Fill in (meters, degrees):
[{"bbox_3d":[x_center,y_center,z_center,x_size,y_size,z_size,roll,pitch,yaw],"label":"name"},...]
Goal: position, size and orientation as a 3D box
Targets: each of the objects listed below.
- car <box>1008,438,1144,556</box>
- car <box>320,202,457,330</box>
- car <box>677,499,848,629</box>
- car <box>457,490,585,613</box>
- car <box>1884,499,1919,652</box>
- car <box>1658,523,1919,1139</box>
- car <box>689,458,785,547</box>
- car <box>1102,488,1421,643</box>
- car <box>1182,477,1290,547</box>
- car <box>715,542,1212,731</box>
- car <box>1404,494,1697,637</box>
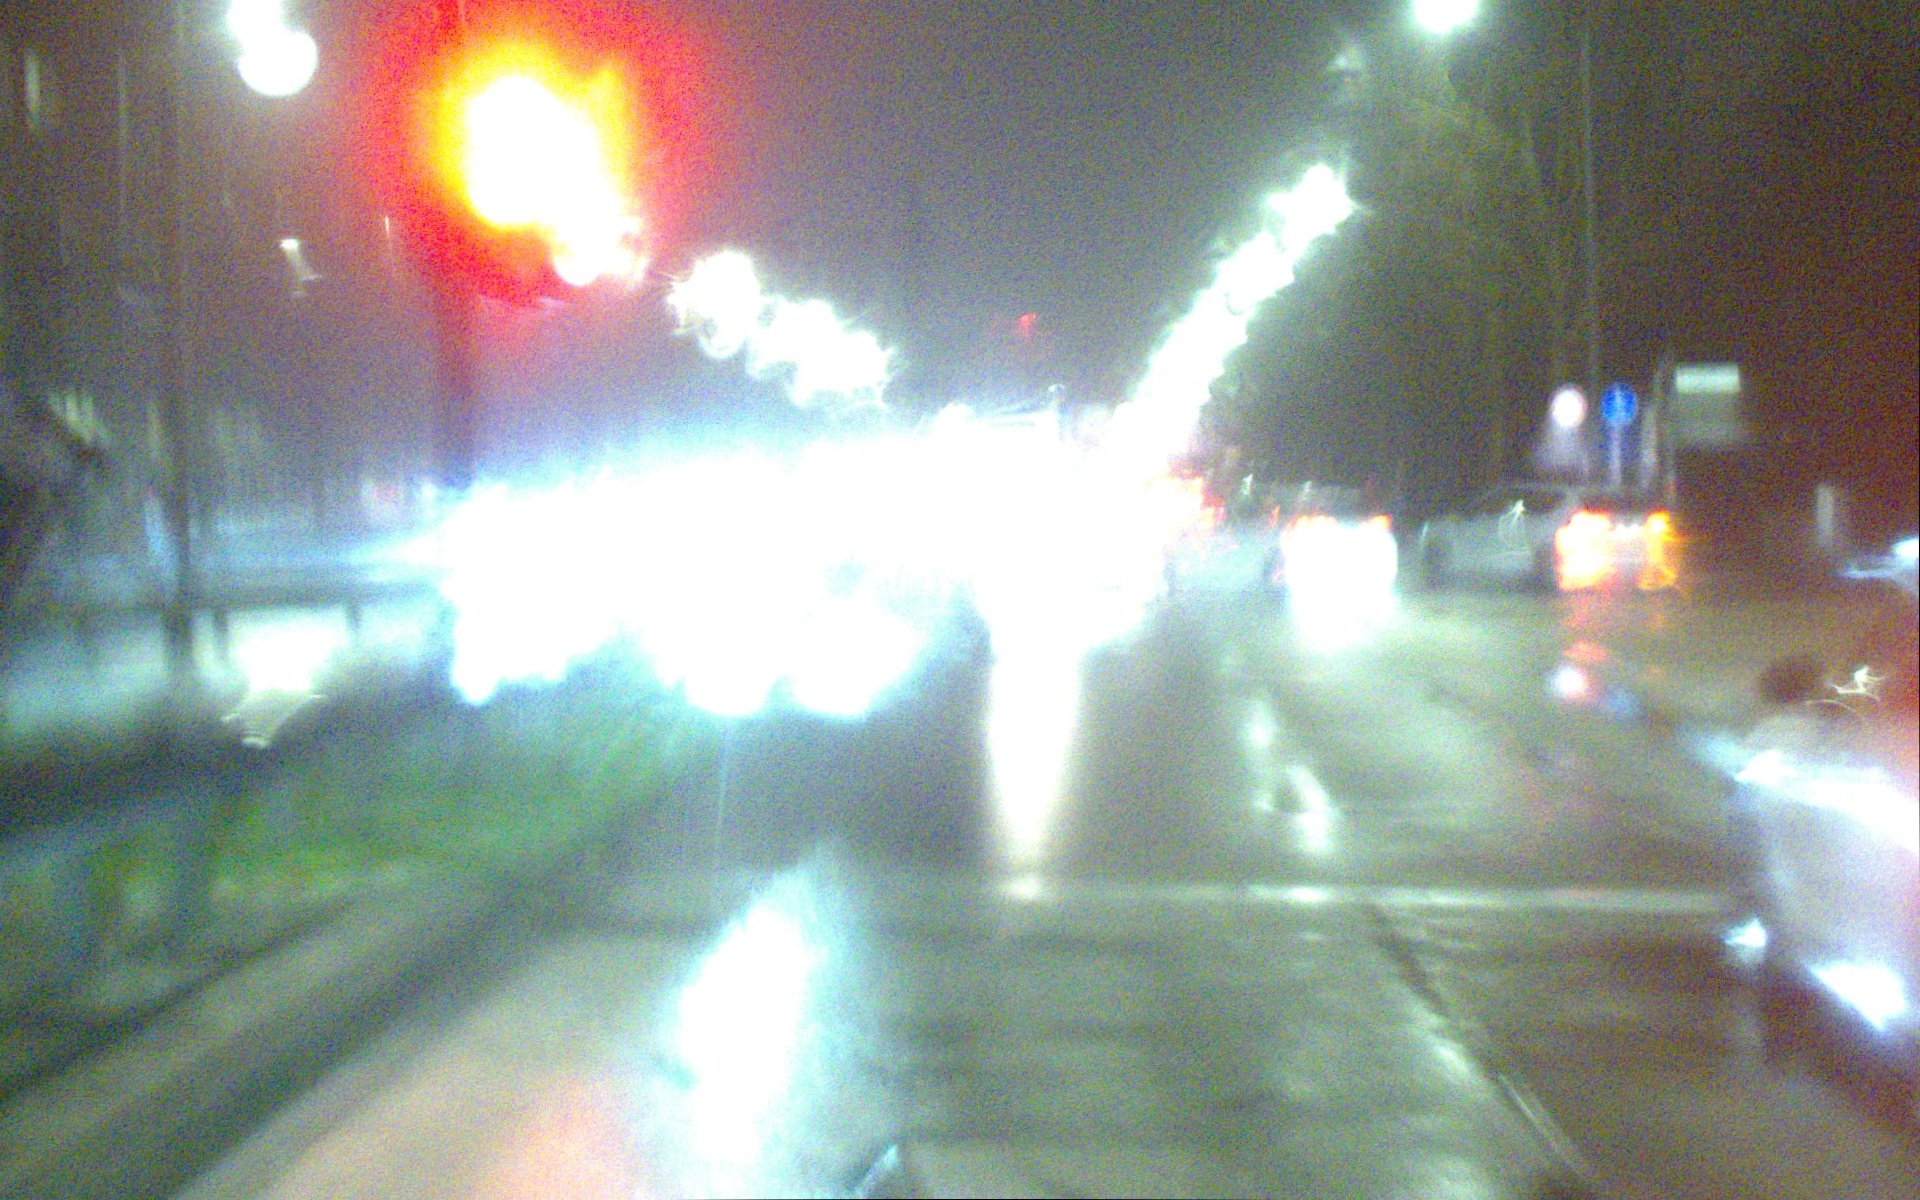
[{"bbox_3d":[2.200,-1.955,66.473,2.441,2.186,5.079,0,1,0],"label":"car"},{"bbox_3d":[-9.198,-5.363,55.631,1.952,1.667,4.418,0,1,-6],"label":"car"},{"bbox_3d":[-2.735,-0.496,46.718,1.834,1.665,4.464,0,1,-9],"label":"car"},{"bbox_3d":[-6.454,-0.711,50.287,1.717,1.728,3.766,0,1,-9],"label":"car"},{"bbox_3d":[13.154,-0.279,40.267,4.297,1.779,2.043,1,1,21],"label":"car"},{"bbox_3d":[3.126,0.503,9.161,1.720,1.441,4.383,-1,1,2],"label":"car"},{"bbox_3d":[-5.145,-2.245,79.670,1.699,2.007,3.567,0,1,5],"label":"car"},{"bbox_3d":[4.066,-0.486,46.917,2.038,2.007,4.306,0,1,-35],"label":"car"},{"bbox_3d":[6.253,-1.984,78.348,2.091,1.540,4.307,0,1,0],"label":"car"},{"bbox_3d":[-0.013,0.287,32.078,4.423,1.644,1.833,1,1,37],"label":"car"},{"bbox_3d":[8.607,-0.513,50.470,2.038,2.007,4.307,0,1,-27],"label":"car"}]
